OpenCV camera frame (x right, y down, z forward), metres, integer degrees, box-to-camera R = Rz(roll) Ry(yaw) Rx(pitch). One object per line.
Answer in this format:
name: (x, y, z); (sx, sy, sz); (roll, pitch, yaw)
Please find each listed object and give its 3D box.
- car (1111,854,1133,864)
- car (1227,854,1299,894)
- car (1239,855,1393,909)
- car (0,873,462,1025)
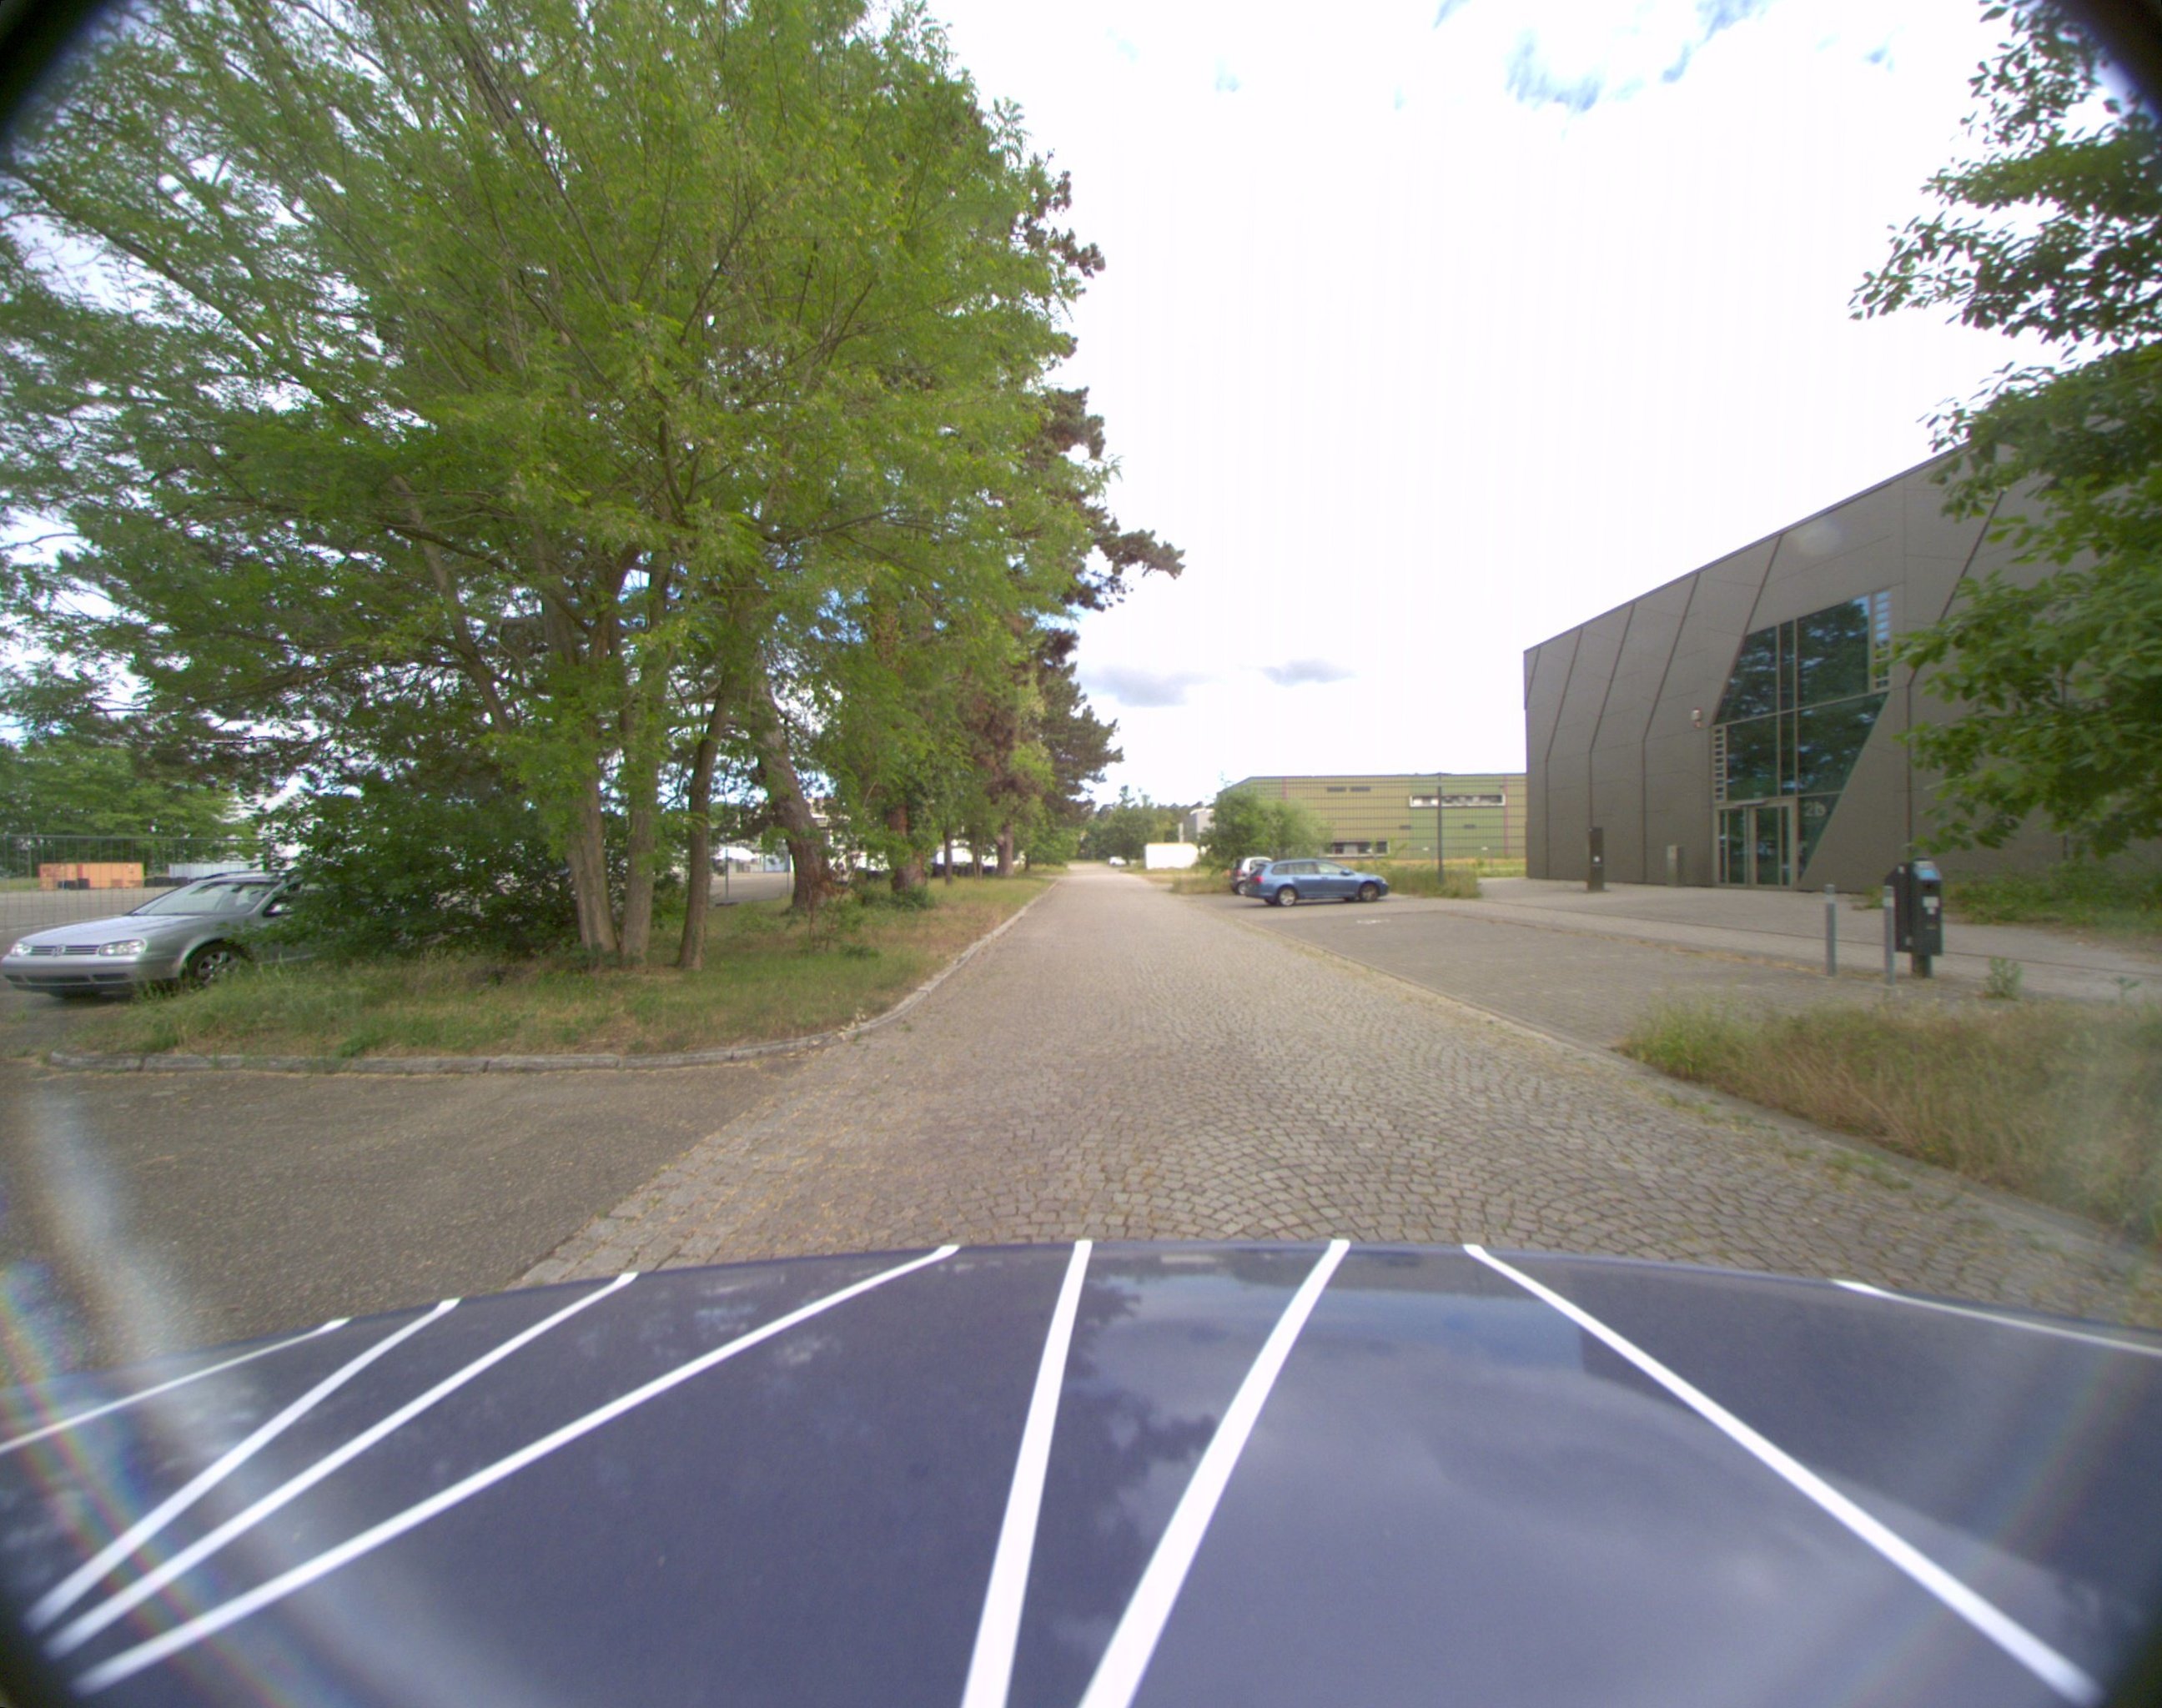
car: (7.838, 0.875, 144.434); (4.062, 1.767, 1.792); (-2, 1, 0)
car: (7.614, 0.825, 31.993); (2.584, 1.521, 1.500); (-3, 1, -1)
car: (7.541, 0.869, 24.624); (4.426, 1.461, 1.633); (-3, 1, -2)
car: (-11.040, 1.072, 10.306); (1.678, 1.442, 4.488); (-1, 0, -2)
